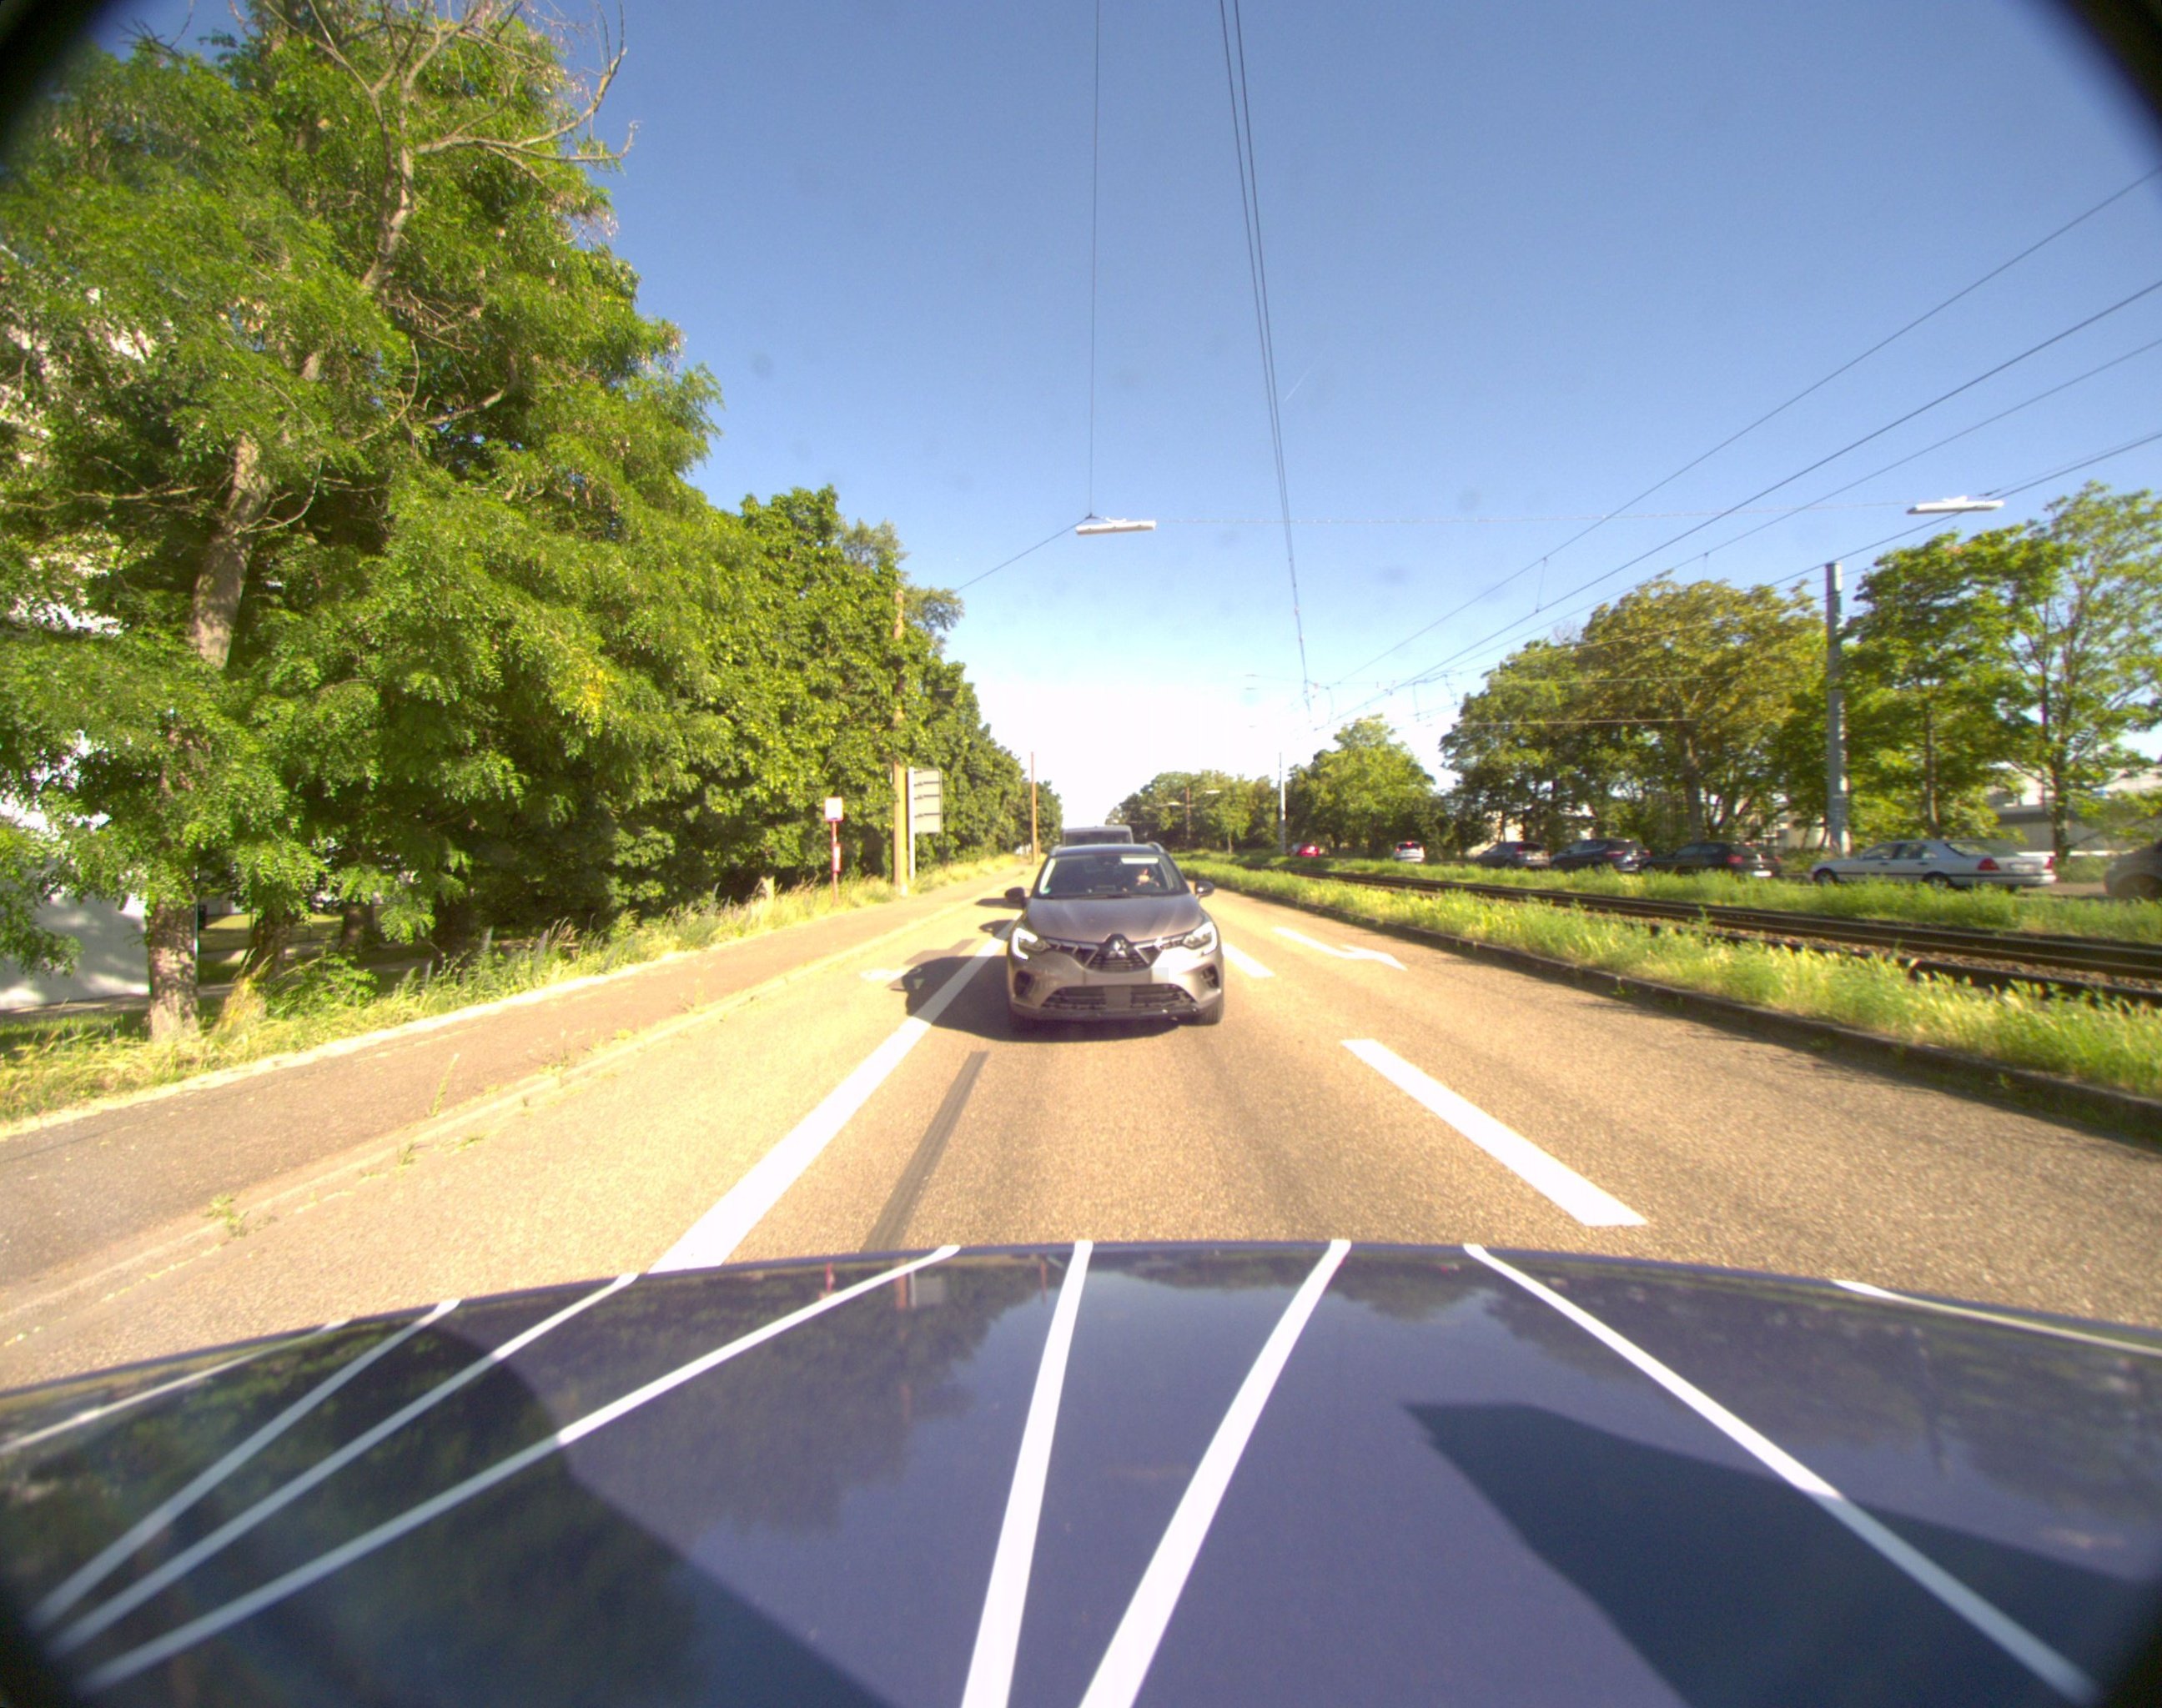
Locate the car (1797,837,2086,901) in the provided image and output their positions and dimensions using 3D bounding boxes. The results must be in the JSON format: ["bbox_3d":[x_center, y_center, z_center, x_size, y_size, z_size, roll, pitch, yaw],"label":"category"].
[{"bbox_3d":[21.560,0.334,19.418,2.130,1.372,4.615,-2,0,-1],"label":"car"}]

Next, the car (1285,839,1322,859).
[{"bbox_3d":[21.020,-0.446,71.941,2.321,1.723,4.798,-2,0,3],"label":"car"}]

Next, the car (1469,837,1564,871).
[{"bbox_3d":[21.581,-0.006,37.888,2.130,1.554,4.560,-2,0,0],"label":"car"}]

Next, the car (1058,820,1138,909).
[{"bbox_3d":[0.370,0.280,21.600,1.999,2.198,4.786,-1,0,-1],"label":"car"}]

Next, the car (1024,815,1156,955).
[{"bbox_3d":[0.166,0.470,13.819,1.998,2.113,4.000,-2,0,1],"label":"car"}]

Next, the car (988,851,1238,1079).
[{"bbox_3d":[0.194,0.800,7.808,1.796,1.583,4.529,-1,1,-1],"label":"car"}]

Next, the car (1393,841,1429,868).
[{"bbox_3d":[20.568,-0.006,47.284,1.856,1.549,4.163,-1,0,26],"label":"car"}]

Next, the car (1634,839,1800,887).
[{"bbox_3d":[21.361,0.262,25.811,1.960,1.418,4.488,-2,0,1],"label":"car"}]

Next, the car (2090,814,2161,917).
[{"bbox_3d":[21.243,0.188,12.844,2.207,1.923,4.685,-2,0,2],"label":"car"}]

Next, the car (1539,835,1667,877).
[{"bbox_3d":[21.323,0.067,31.306,2.130,1.578,4.616,-2,0,1],"label":"car"}]
